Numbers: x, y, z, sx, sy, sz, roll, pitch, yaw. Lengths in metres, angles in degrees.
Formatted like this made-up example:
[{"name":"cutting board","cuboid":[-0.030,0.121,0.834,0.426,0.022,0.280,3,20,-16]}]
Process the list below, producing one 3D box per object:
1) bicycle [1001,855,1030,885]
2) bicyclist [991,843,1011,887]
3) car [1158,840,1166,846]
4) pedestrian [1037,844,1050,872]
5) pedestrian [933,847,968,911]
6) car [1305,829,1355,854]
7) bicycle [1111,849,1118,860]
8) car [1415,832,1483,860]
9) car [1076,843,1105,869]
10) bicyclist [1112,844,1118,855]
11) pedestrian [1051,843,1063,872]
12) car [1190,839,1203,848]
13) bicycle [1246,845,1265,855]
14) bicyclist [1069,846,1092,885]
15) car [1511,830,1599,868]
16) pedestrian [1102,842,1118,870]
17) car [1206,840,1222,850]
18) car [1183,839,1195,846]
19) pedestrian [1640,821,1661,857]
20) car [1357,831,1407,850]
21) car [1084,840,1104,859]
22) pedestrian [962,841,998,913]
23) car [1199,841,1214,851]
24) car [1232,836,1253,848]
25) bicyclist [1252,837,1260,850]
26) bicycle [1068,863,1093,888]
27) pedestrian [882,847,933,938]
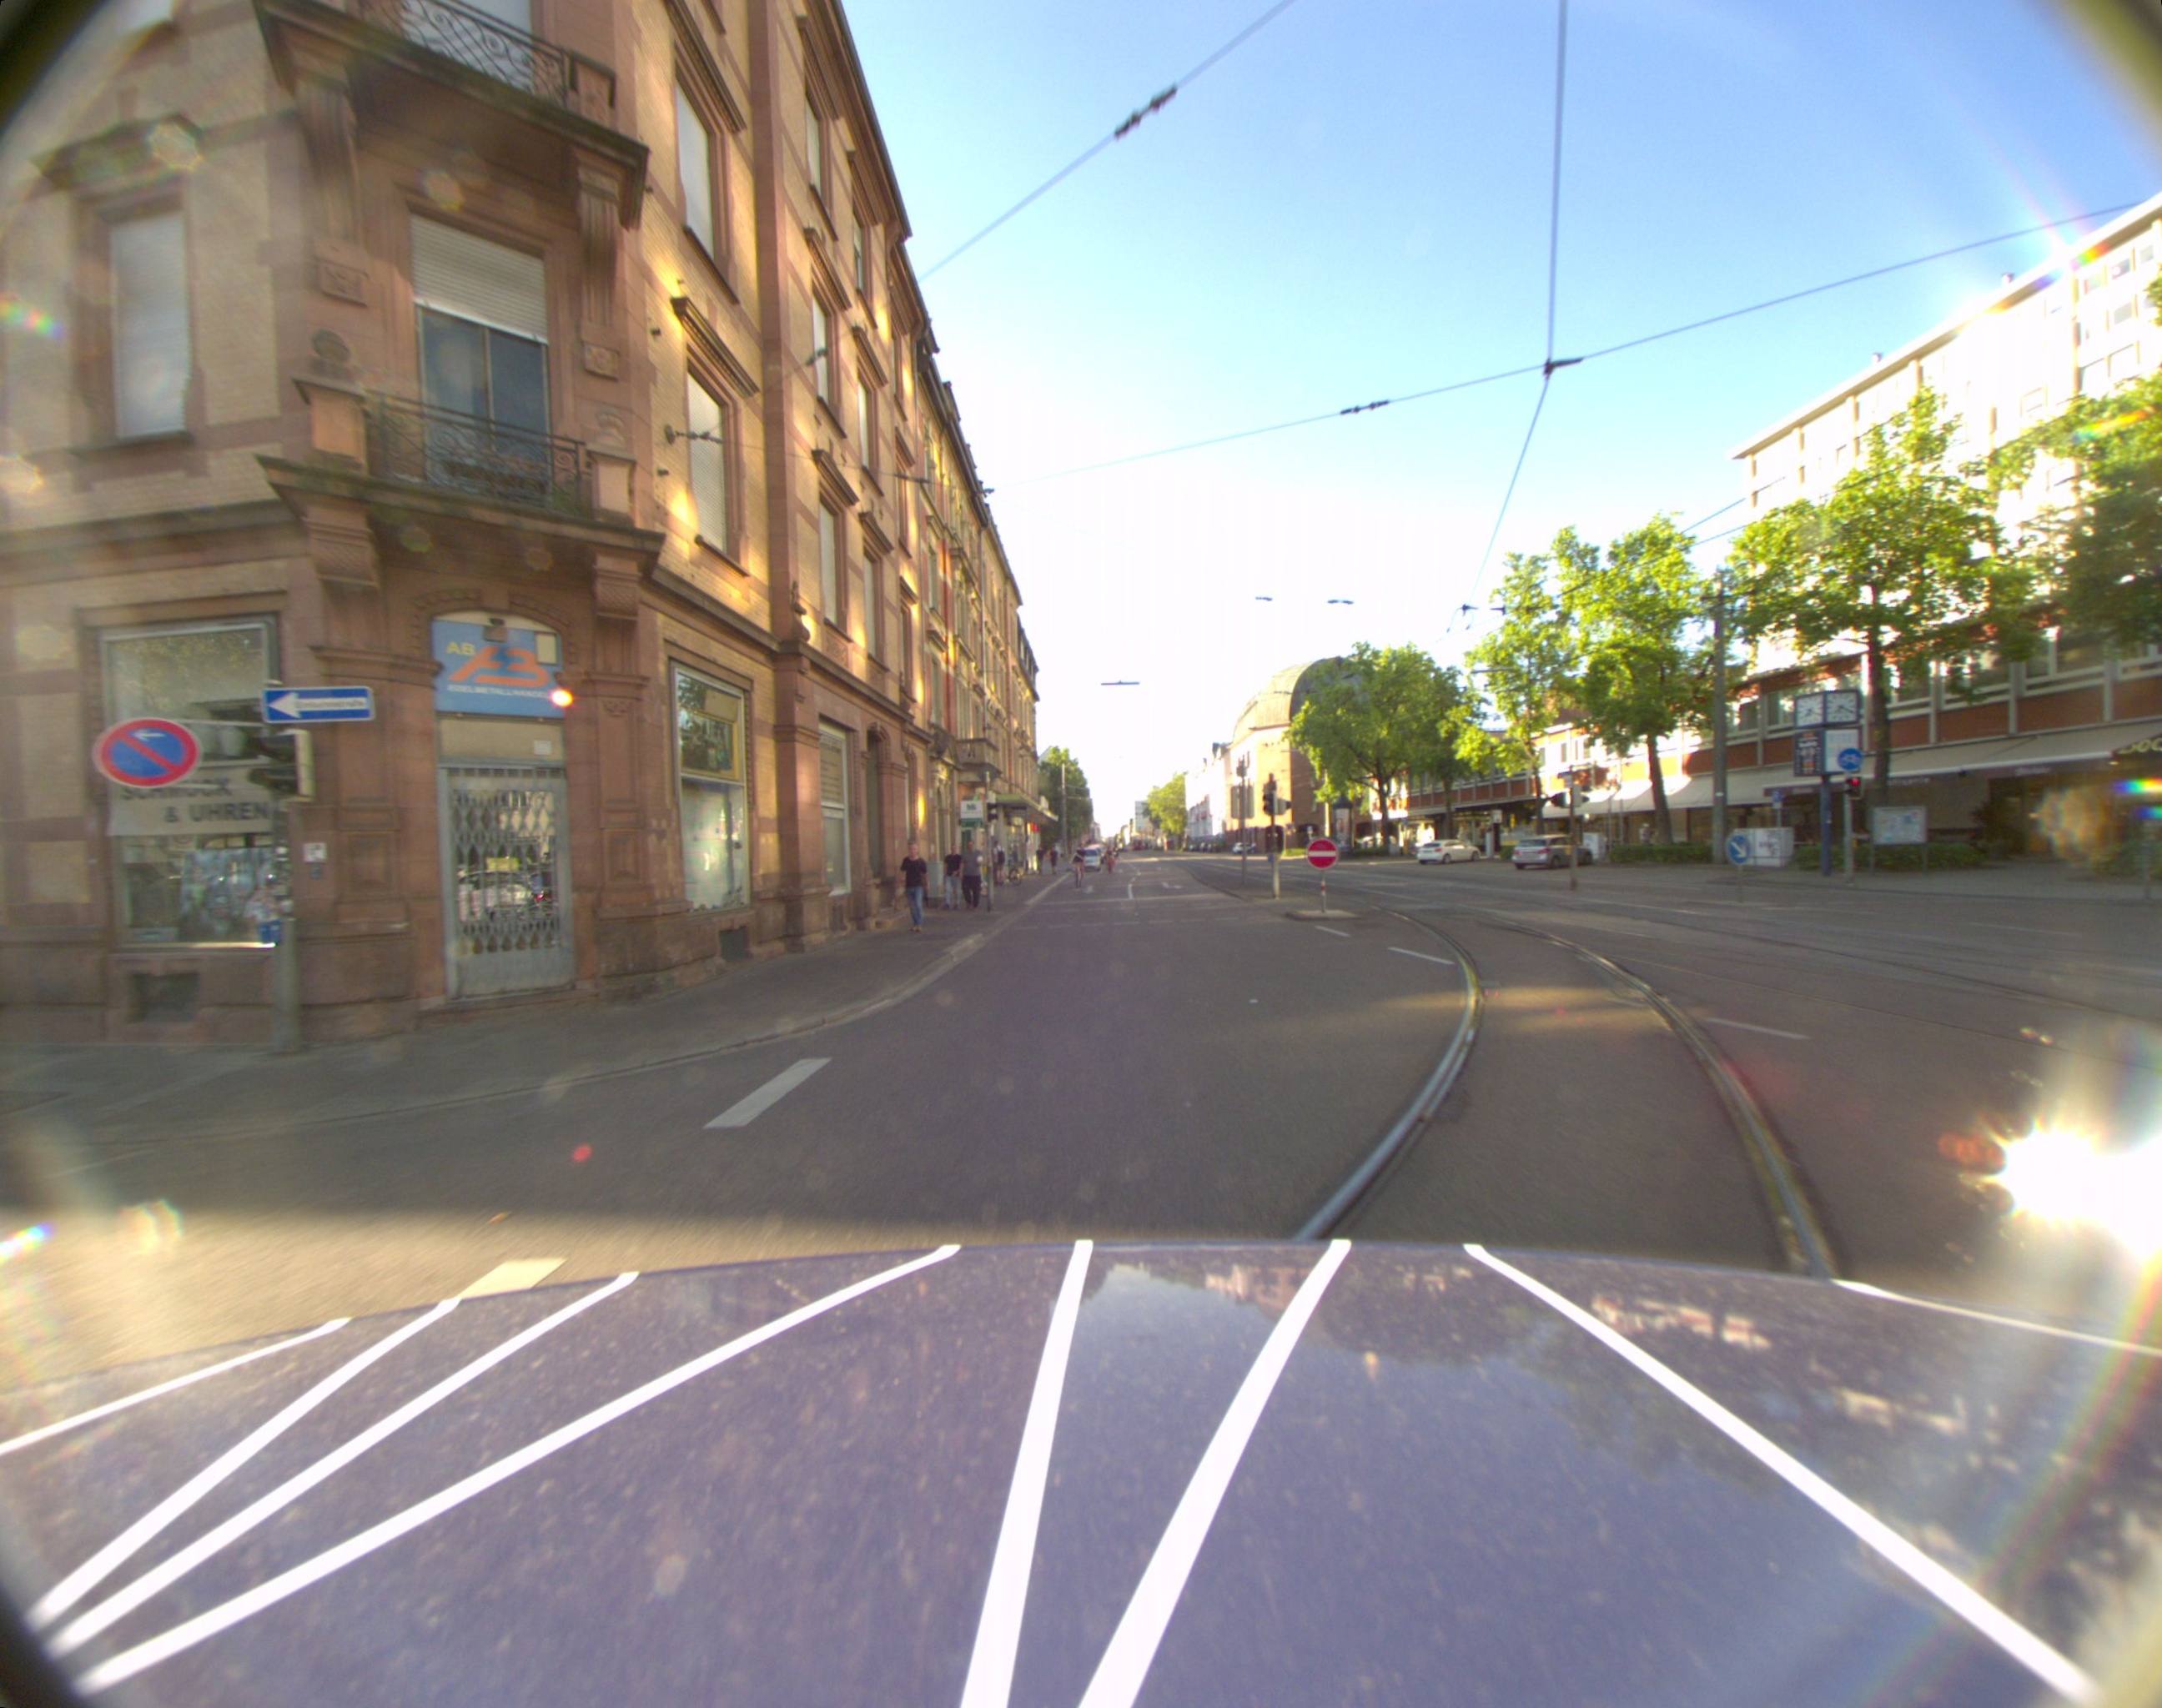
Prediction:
[{"name":"bicycle","cuboid":[-2.906,0.674,33.500,0.669,1.246,1.891,-2,1,-24]},{"name":"bicyclist","cuboid":[-3.510,0.483,33.209,0.600,1.871,0.742,-2,1,-24]},{"name":"car","cuboid":[24.400,-3.412,228.715,1.964,1.594,3.999,-3,1,0]},{"name":"pedestrian","cuboid":[-2.329,0.254,46.909,0.700,1.713,0.681,0,1,4]},{"name":"pedestrian","cuboid":[-3.550,0.670,20.678,0.777,1.713,0.754,0,1,3]},{"name":"car","cuboid":[21.481,-1.076,65.507,4.006,1.953,1.907,-4,2,-32]},{"name":"bicycle","cuboid":[3.806,0.086,85.907,0.646,1.176,1.804,-2,1,-1]},{"name":"car","cuboid":[22.554,-0.511,46.545,4.005,1.466,1.794,-4,2,-29]},{"name":"car","cuboid":[0.698,0.126,52.751,1.670,1.674,4.001,-2,1,5]},{"name":"bicyclist","cuboid":[3.850,-0.540,85.874,0.646,1.176,0.723,-2,1,-1]},{"name":"pedestrian","cuboid":[-1.452,0.211,46.554,0.700,1.713,0.502,0,2,3]},{"name":"car","cuboid":[23.619,-2.200,156.027,1.964,1.594,3.999,-3,1,0]},{"name":"bicycle","cuboid":[20.359,-0.449,88.562,2.033,1.085,0.674,-1,1,29]},{"name":"bicyclist","cuboid":[-0.023,0.479,32.434,0.885,1.651,0.803,-1,1,5]},{"name":"car","cuboid":[22.339,-0.262,35.785,4.005,1.545,1.794,-4,2,-29]},{"name":"pedestrian","cuboid":[1.719,0.114,44.966,0.849,1.652,0.850,-2,1,6]},{"name":"car","cuboid":[22.852,-1.563,130.488,1.964,1.594,3.999,-3,1,0]},{"name":"car","cuboid":[24.450,-2.624,172.236,1.964,1.594,3.999,-3,1,0]},{"name":"pedestrian","cuboid":[27.975,-0.743,37.324,0.635,1.759,0.769,-1,3,18]},{"name":"car","cuboid":[34.875,-1.575,88.022,4.983,2.002,2.000,-2,1,0]},{"name":"car","cuboid":[1.287,-0.467,73.368,1.670,1.674,4.000,-2,1,4]},{"name":"pedestrian","cuboid":[-2.705,0.602,20.365,0.823,1.884,0.754,0,1,3]},{"name":"car","cuboid":[22.664,-1.479,136.906,1.964,1.594,3.999,-3,1,0]},{"name":"car","cuboid":[21.953,-1.651,103.452,1.910,1.594,3.999,-3,1,0]},{"name":"bicyclist","cuboid":[20.402,-1.205,88.512,0.762,1.414,0.674,-1,2,29]},{"name":"bicycle","cuboid":[-0.010,0.893,32.435,0.885,0.949,1.766,-2,1,5]},{"name":"pedestrian","cuboid":[-3.365,0.725,14.799,0.777,1.713,0.754,0,1,3]}]
